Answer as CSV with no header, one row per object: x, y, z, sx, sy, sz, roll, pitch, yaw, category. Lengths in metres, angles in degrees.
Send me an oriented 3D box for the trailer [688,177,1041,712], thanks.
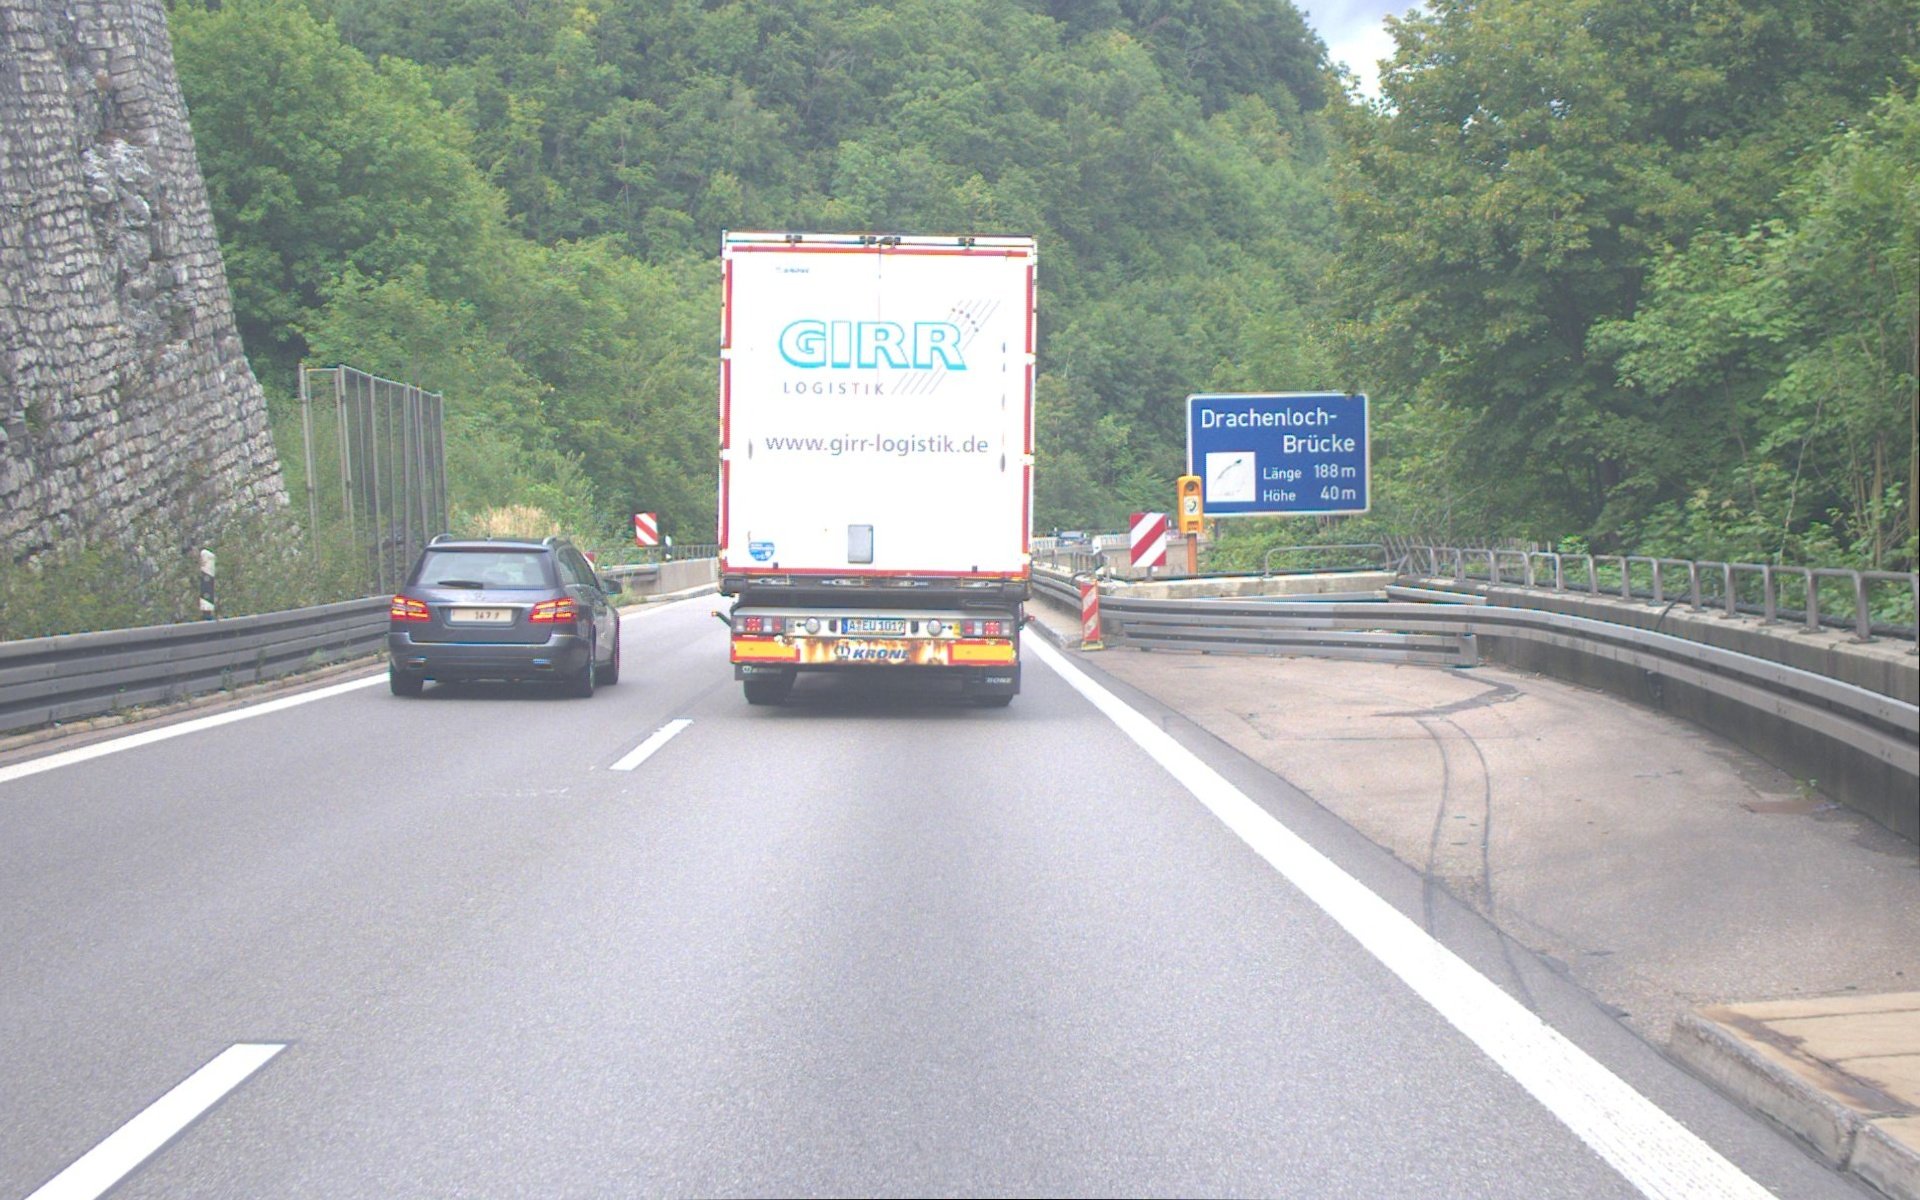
-0.987,-1.316,33.708,2.813,4.288,12.246,0,1,-2,trailer

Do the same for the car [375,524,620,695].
-4.322,0.058,32.695,1.883,1.505,4.419,0,1,-2,car
